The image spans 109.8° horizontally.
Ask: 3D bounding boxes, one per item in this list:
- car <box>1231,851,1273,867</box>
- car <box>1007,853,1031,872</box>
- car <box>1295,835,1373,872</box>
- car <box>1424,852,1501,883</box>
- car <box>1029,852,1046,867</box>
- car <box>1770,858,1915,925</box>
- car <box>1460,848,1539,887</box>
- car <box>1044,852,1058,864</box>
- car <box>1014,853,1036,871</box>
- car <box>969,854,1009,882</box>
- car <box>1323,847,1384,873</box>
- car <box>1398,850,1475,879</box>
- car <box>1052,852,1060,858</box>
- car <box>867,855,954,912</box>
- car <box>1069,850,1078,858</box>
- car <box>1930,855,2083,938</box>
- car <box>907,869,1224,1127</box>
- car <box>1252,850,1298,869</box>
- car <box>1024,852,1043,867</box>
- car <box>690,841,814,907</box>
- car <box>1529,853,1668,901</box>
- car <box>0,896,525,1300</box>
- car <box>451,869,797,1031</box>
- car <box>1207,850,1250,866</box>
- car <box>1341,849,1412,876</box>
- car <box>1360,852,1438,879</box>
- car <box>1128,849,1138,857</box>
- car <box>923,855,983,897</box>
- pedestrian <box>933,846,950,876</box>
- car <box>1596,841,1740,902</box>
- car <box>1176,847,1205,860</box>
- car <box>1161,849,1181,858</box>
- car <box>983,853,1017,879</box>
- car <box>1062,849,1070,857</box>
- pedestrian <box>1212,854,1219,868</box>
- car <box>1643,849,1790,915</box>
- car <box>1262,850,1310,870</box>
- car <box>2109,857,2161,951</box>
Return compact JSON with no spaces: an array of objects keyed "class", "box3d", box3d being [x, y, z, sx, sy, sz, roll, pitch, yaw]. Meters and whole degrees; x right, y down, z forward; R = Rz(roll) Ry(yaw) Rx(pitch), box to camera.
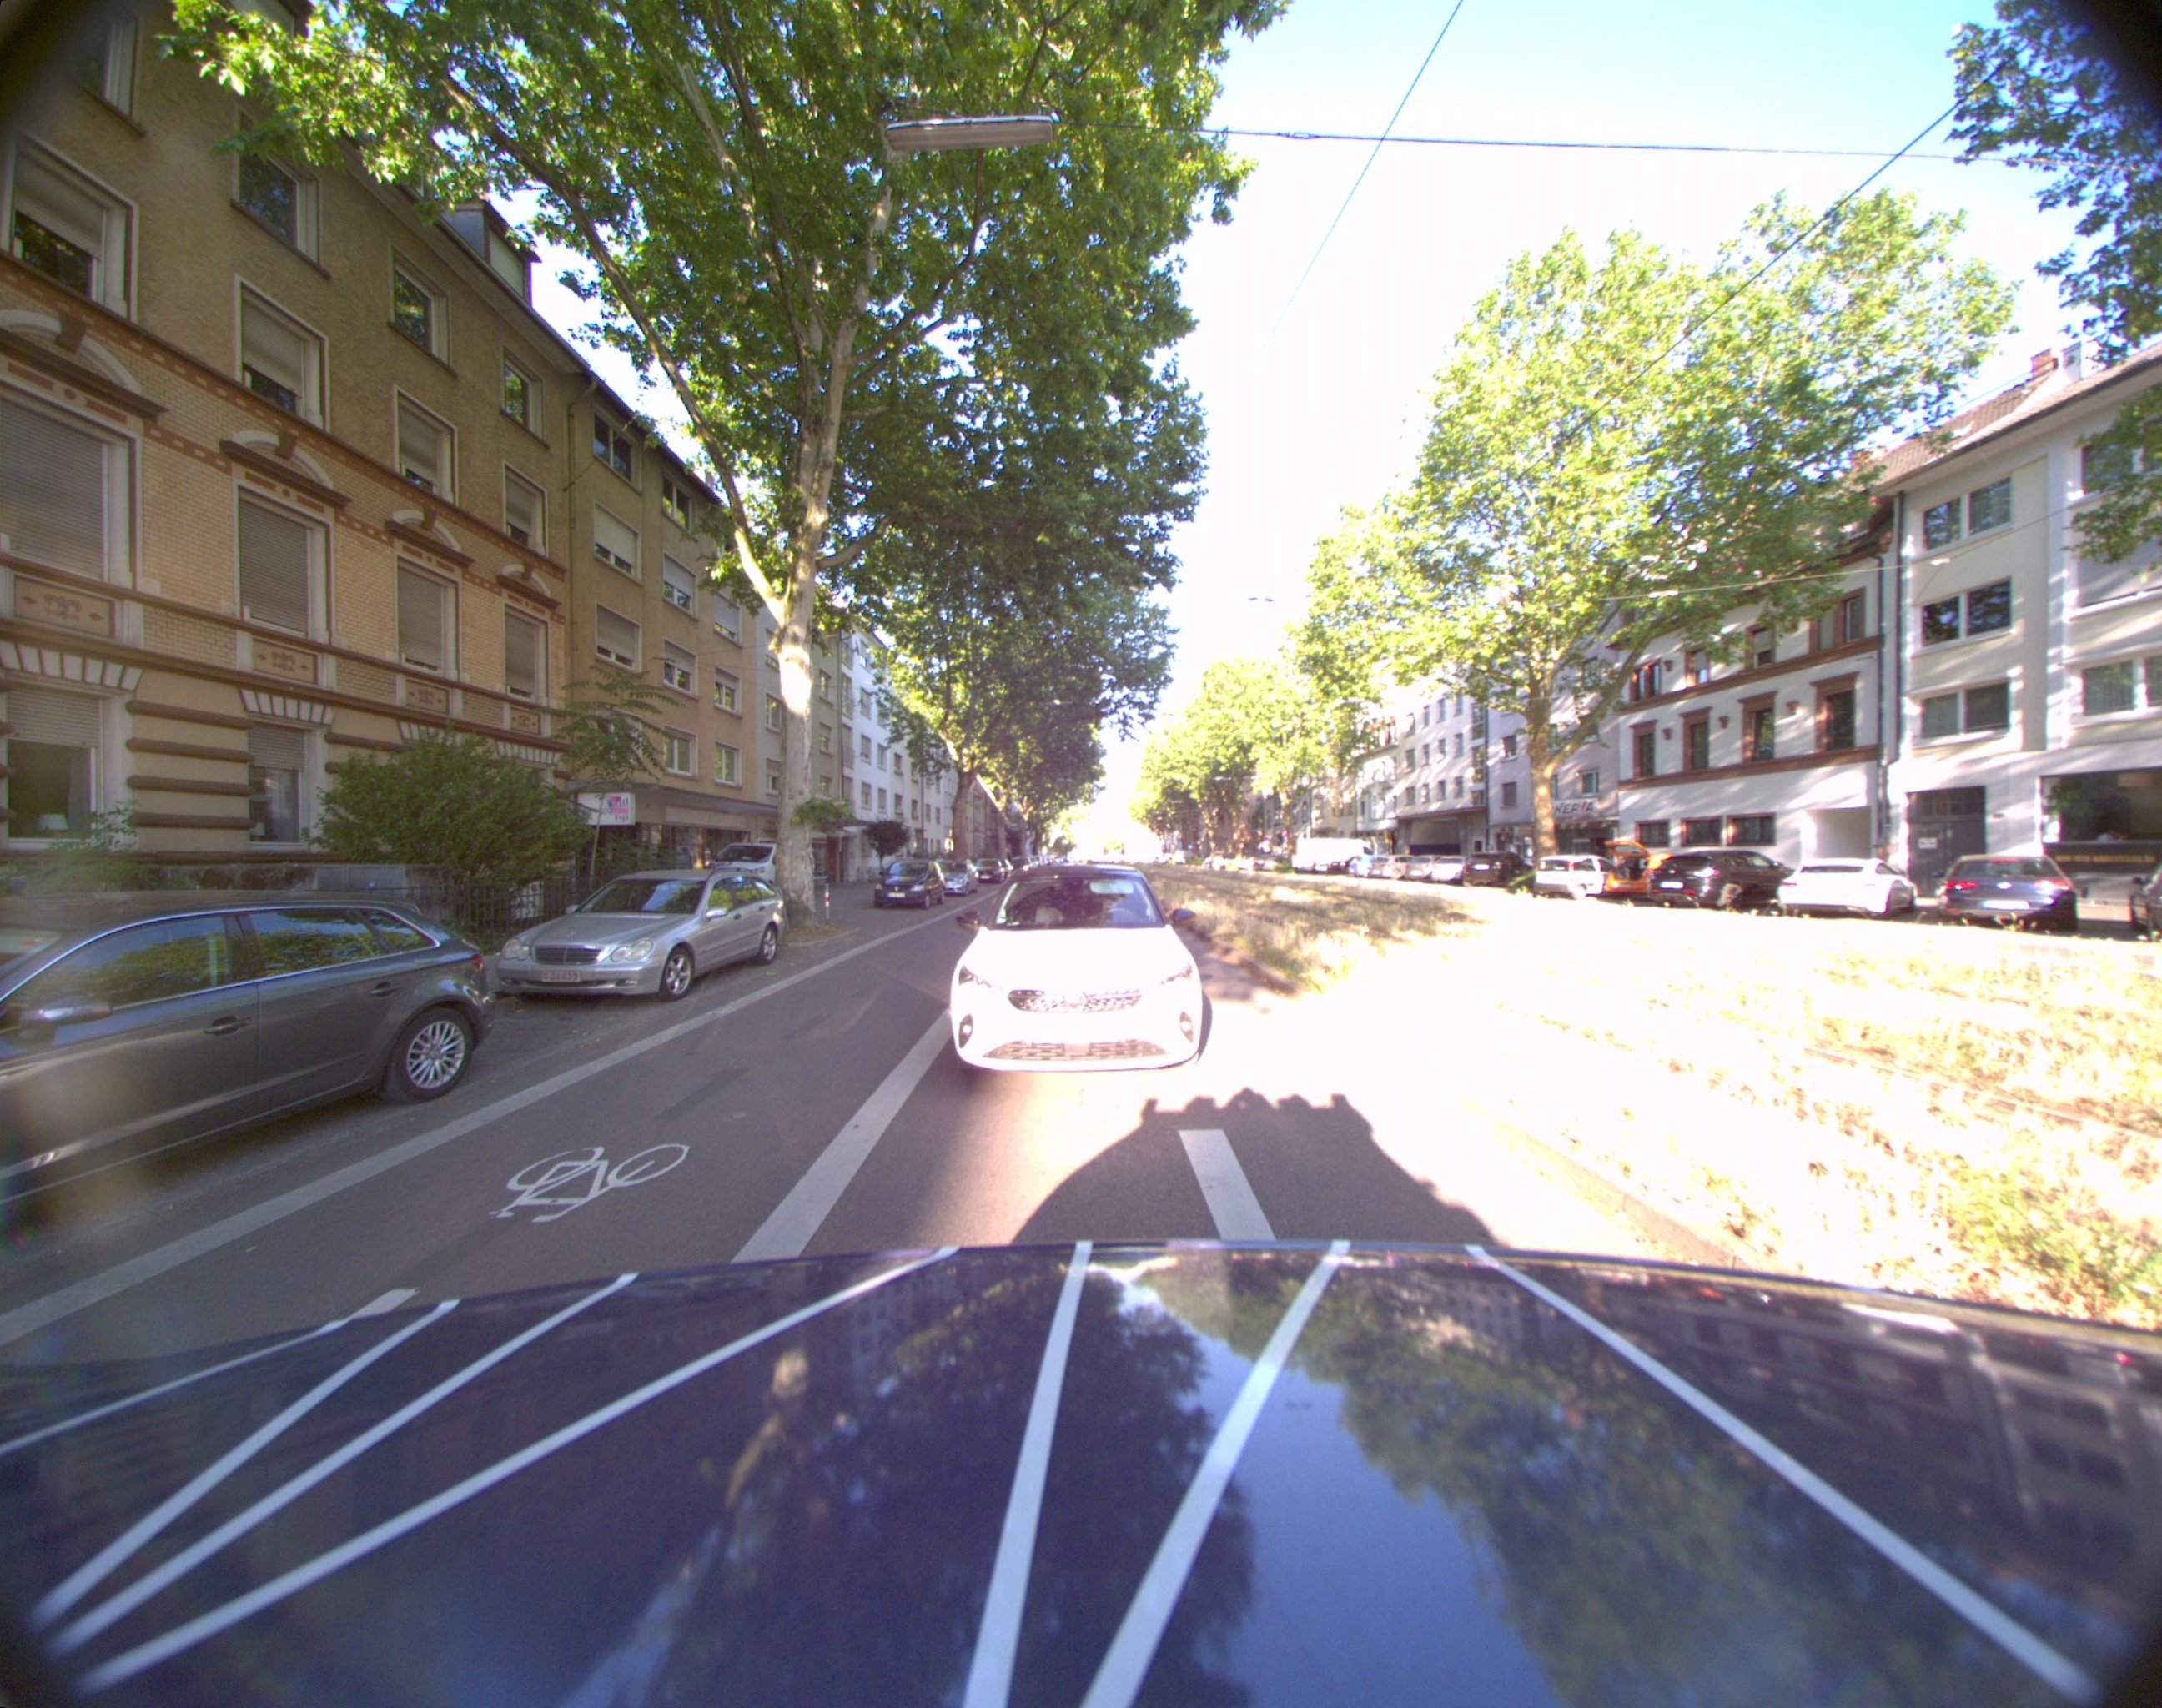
[{"class":"car","box3d":[18.377,0.512,81.584,4.005,1.696,1.995,-1,1,-27]},{"class":"car","box3d":[-5.365,0.724,66.279,1.803,1.599,4.104,2,0,-1]},{"class":"car","box3d":[19.187,-0.069,57.609,5.619,2.684,2.176,-1,1,-24]},{"class":"car","box3d":[18.970,0.646,37.706,4.265,1.451,1.598,-1,1,-36]},{"class":"car","box3d":[-5.344,0.606,93.326,1.803,1.742,4.104,2,0,-1]},{"class":"car","box3d":[18.585,0.820,18.489,4.266,1.369,2.147,-1,1,-40]},{"class":"car","box3d":[18.906,0.559,34.262,4.266,1.605,1.902,-1,1,-43]},{"class":"car","box3d":[-4.304,0.594,110.062,1.803,1.598,3.702,2,0,-1]},{"class":"car","box3d":[-5.412,0.720,73.455,1.803,1.599,4.104,2,0,-1]},{"class":"car","box3d":[-5.464,0.793,45.600,1.803,1.494,4.369,2,0,-1]},{"class":"car","box3d":[19.704,0.411,54.945,4.005,1.805,1.995,-1,1,-27]},{"class":"car","box3d":[19.205,0.544,40.982,4.265,1.449,1.902,-1,1,-36]},{"class":"car","box3d":[-7.859,0.255,241.066,1.998,1.850,4.001,-2,1,5]},{"class":"car","box3d":[-5.409,0.877,24.637,1.803,1.599,4.369,2,0,-1]},{"class":"car","box3d":[-1.910,-0.018,186.266,1.998,2.002,3.999,-2,1,0]},{"class":"car","box3d":[19.284,0.780,15.997,3.979,1.495,1.827,-1,1,-42]},{"class":"car","box3d":[-0.105,0.906,6.533,1.865,1.394,3.931,-2,0,0]},{"class":"car","box3d":[18.648,0.519,73.053,4.005,1.805,1.995,-1,1,-27]},{"class":"car","box3d":[-5.384,0.620,86.639,1.803,1.599,4.104,2,0,-1]},{"class":"car","box3d":[-10.375,0.571,24.401,1.933,1.864,4.677,2,0,-1]},{"class":"car","box3d":[18.139,0.768,26.668,4.260,1.548,1.641,0,1,-15]},{"class":"car","box3d":[-5.202,1.058,3.642,1.802,1.393,4.370,2,0,1]},{"class":"car","box3d":[-5.384,0.998,9.807,1.803,1.446,4.511,2,0,-1]},{"class":"car","box3d":[16.271,0.388,83.837,4.234,1.696,1.999,0,1,-4]},{"class":"car","box3d":[18.788,0.518,48.306,4.005,1.608,1.995,-1,1,-27]},{"class":"car","box3d":[18.877,0.634,45.179,4.004,1.509,1.996,-1,1,-20]},{"class":"car","box3d":[17.121,-0.428,249.646,2.963,2.407,6.327,-2,1,1]},{"class":"car","box3d":[-5.340,0.880,32.273,1.803,1.599,4.369,2,0,-1]},{"class":"pedestrian","box3d":[-7.321,0.366,39.856,0.728,1.571,0.701,0,1,0]},{"class":"car","box3d":[19.445,0.542,25.208,4.260,1.932,1.514,0,1,-15]},{"class":"car","box3d":[18.756,-0.119,130.072,4.952,2.200,2.096,-1,1,-42]},{"class":"car","box3d":[18.189,-0.079,153.774,3.994,1.802,1.874,0,1,10]},{"class":"car","box3d":[-5.390,0.766,50.931,1.803,1.599,4.369,2,0,-1]},{"class":"car","box3d":[-4.052,-0.356,203.269,1.998,2.002,4.000,-2,1,1]},{"class":"pedestrian","box3d":[14.697,0.768,83.073,0.620,1.588,0.422,0,1,1]},{"class":"car","box3d":[18.221,0.720,21.751,4.265,1.674,2.147,-1,1,-34]},{"class":"car","box3d":[18.825,0.530,69.781,4.005,1.805,1.995,-1,1,-27]},{"class":"car","box3d":[19.046,0.786,12.735,3.979,1.424,1.738,-1,-1,-42]}]
